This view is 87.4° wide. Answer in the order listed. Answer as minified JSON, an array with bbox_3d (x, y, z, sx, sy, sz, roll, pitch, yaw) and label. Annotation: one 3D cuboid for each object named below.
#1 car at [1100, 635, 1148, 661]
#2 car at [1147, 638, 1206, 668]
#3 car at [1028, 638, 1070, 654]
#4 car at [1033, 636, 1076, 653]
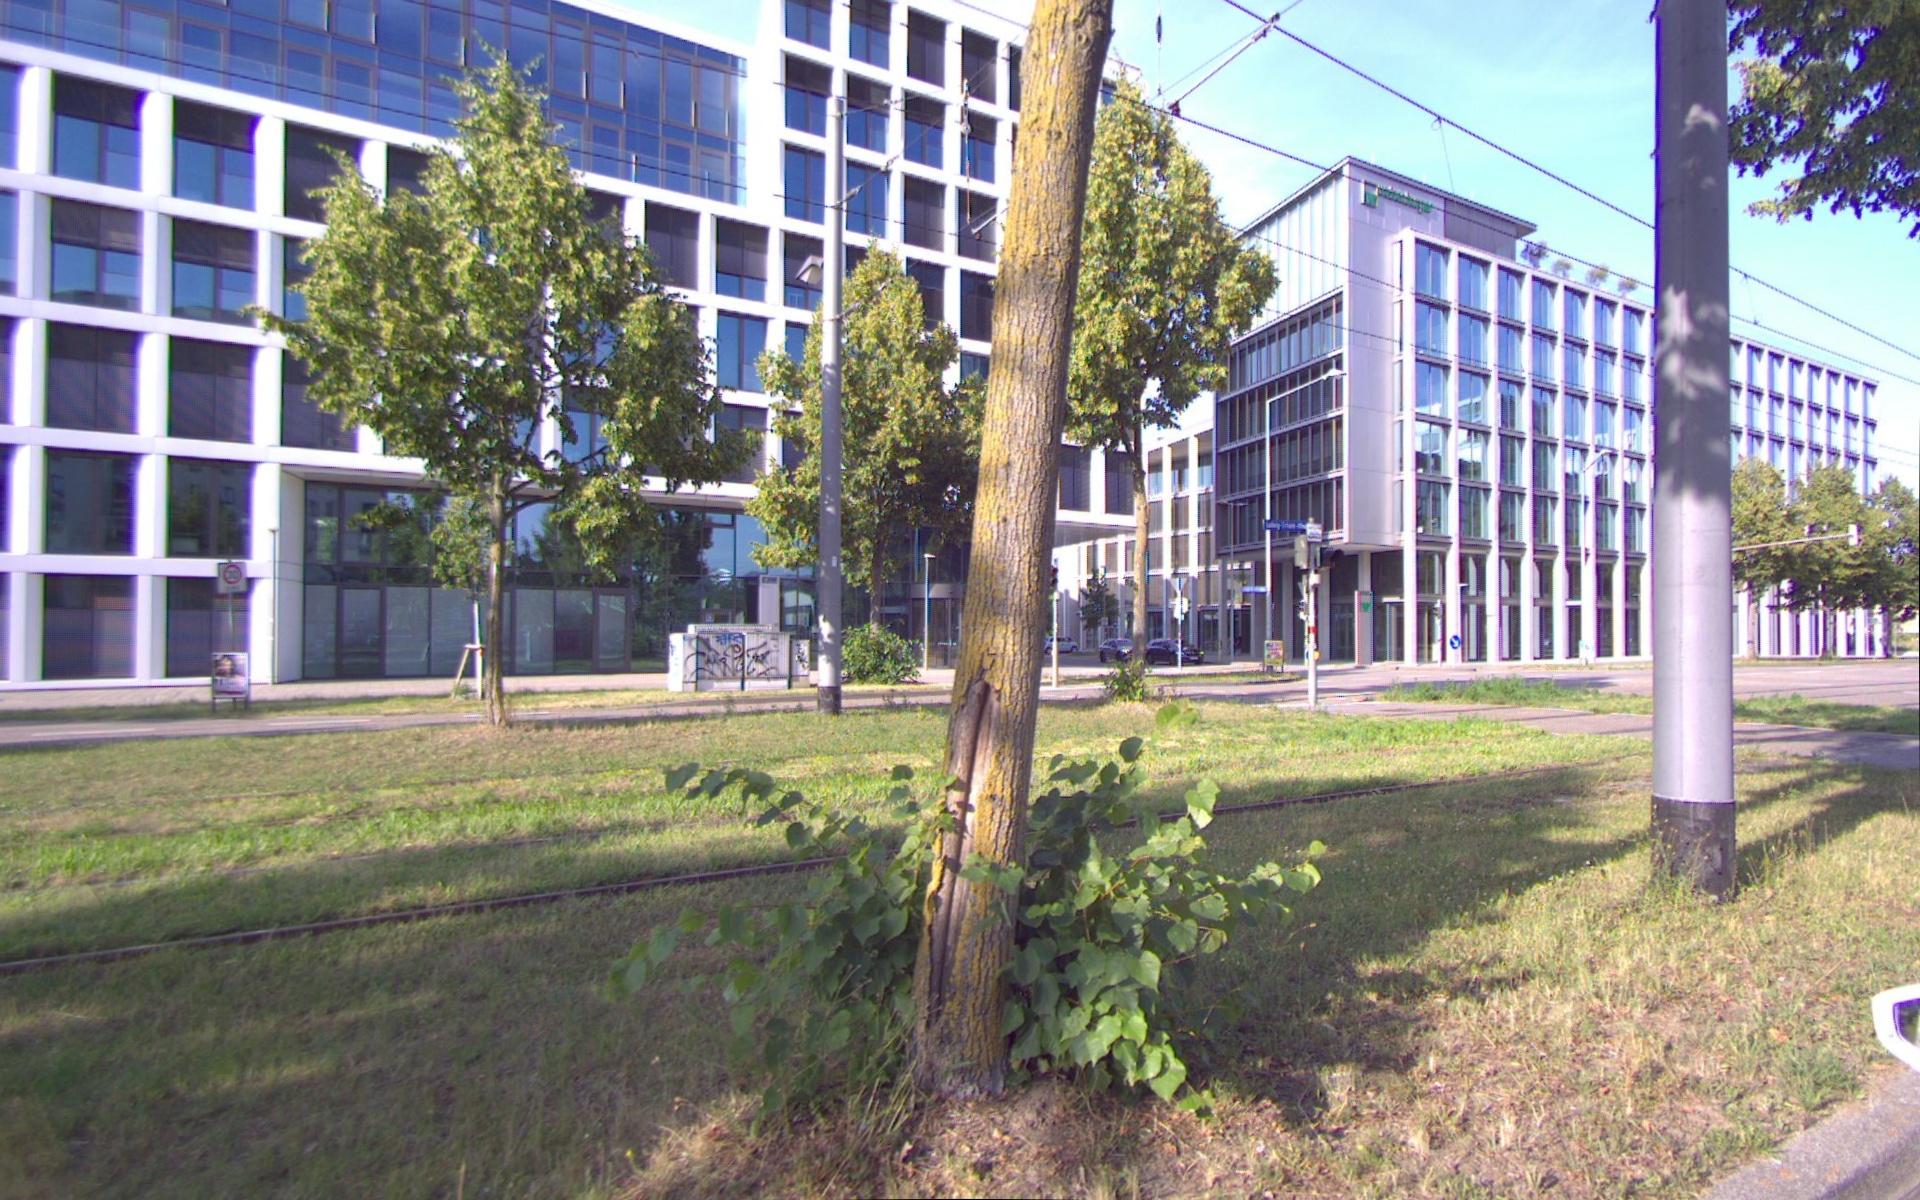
[{"bbox_3d":[10.121,2.941,62.324,1.549,1.443,3.667,1,0,-15],"label":"car"},{"bbox_3d":[11.935,2.917,55.498,1.551,1.443,3.496,2,0,-20],"label":"car"},{"bbox_3d":[8.279,4.289,93.531,3.537,1.313,1.524,2,0,-15],"label":"car"},{"bbox_3d":[8.490,4.007,90.583,3.537,1.417,1.524,2,0,-15],"label":"car"}]
